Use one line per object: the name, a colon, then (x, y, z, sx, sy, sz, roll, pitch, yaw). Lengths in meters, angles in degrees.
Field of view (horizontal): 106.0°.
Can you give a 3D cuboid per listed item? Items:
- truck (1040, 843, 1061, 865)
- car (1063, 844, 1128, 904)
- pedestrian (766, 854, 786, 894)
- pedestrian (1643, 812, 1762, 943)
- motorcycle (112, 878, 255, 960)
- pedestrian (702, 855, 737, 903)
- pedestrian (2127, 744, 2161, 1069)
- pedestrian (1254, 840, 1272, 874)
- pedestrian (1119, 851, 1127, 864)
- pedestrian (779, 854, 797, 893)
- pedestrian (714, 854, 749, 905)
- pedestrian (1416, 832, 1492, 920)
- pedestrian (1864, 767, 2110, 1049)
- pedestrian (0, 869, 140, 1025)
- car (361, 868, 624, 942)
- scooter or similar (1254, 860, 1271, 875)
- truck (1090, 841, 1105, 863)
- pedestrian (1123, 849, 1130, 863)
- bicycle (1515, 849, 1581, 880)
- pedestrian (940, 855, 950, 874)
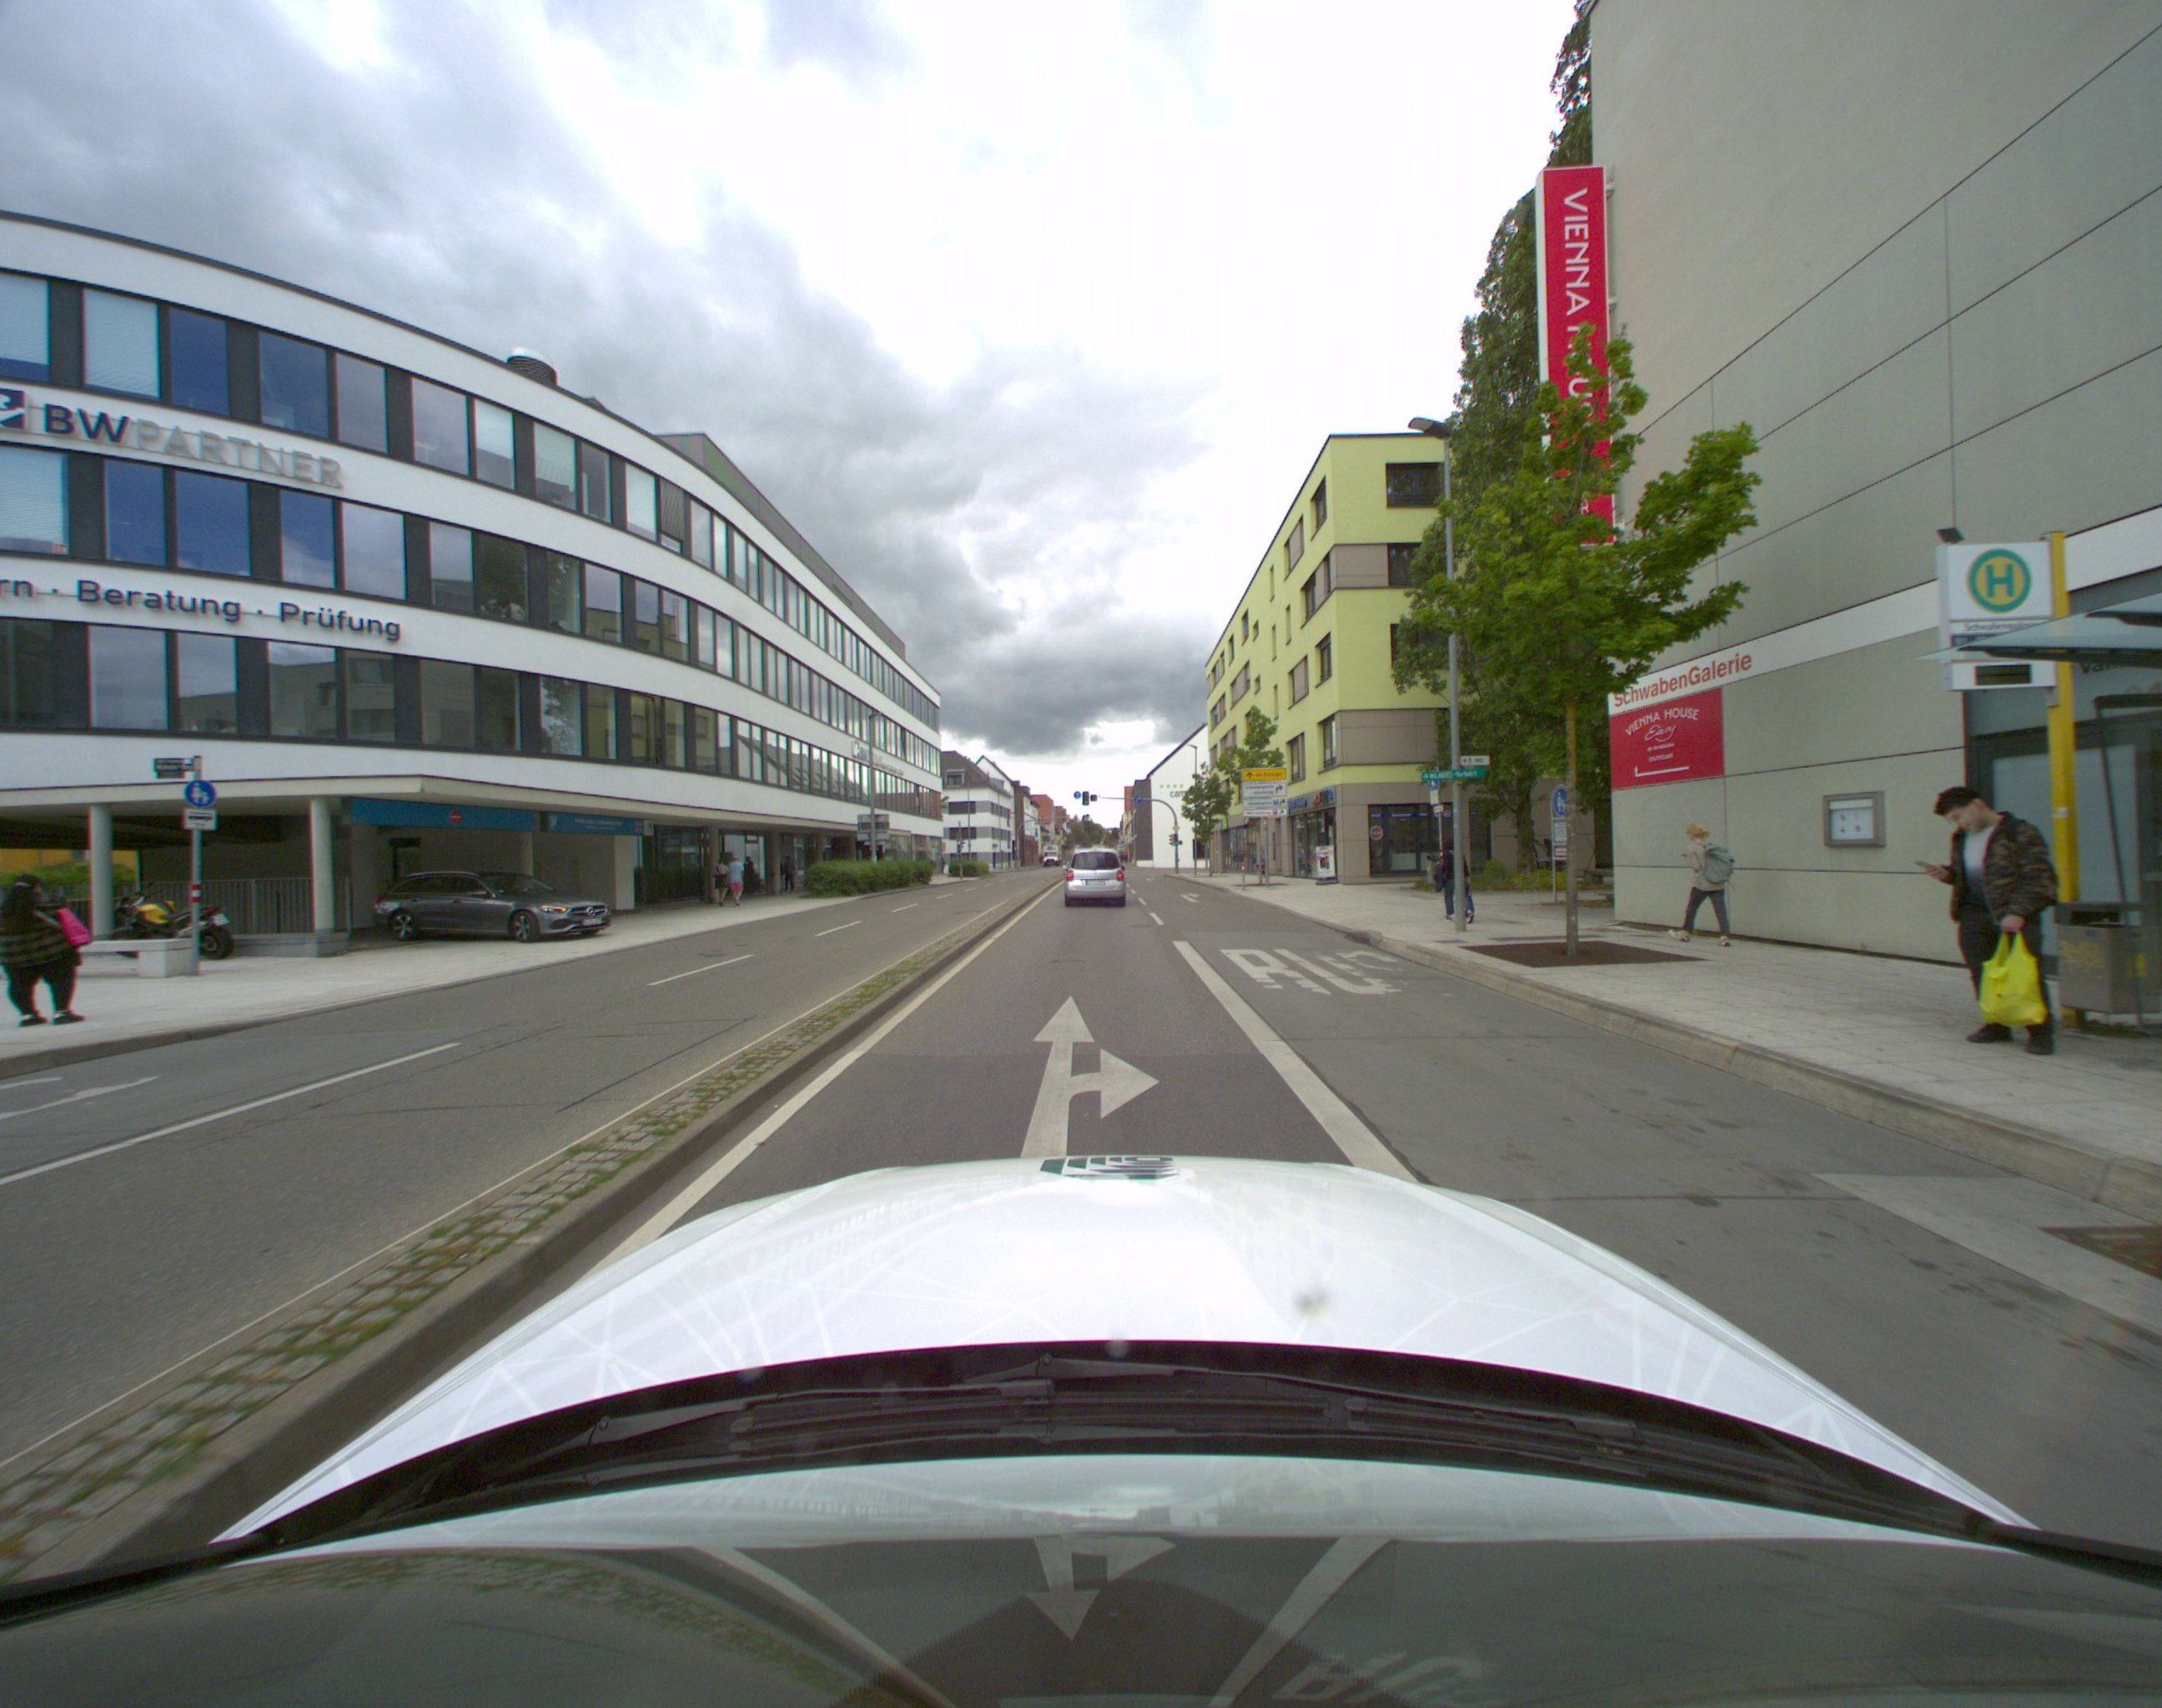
truck: (-4.214, -0.066, 115.300, 2.426, 2.953, 8.366, -1, 0, 1)
car: (0.431, 0.517, 23.322, 1.700, 1.579, 4.001, 0, 0, 1)
pedestrian: (-13.634, 0.890, 36.458, 0.500, 1.729, 0.619, -2, 0, 32)
pedestrian: (7.923, 0.291, 10.424, 0.865, 1.583, 0.804, -2, 0, 0)
motorcycle: (-15.400, 1.098, 13.995, 1.846, 1.333, 0.637, 0, 0, 4)
pedestrian: (-12.437, 0.844, 28.039, 0.727, 1.613, 0.932, 0, 0, 3)
pedestrian: (6.101, 0.280, 4.074, 0.576, 1.769, 0.858, -3, 0, 7)
pedestrian: (8.821, 0.154, 39.526, 0.693, 1.593, 0.603, -3, 0, 0)
pedestrian: (5.845, 0.455, 113.303, 0.886, 1.786, 0.785, -4, 0, 2)
pedestrian: (-12.949, 0.859, 36.005, 0.617, 1.710, 0.501, -2, 0, -29)
pedestrian: (-11.648, 0.836, 27.153, 0.727, 1.674, 0.932, 0, 0, 3)
pedestrian: (7.052, 0.403, 15.443, 0.944, 1.583, 1.016, -2, 0, 0)
pedestrian: (5.842, 0.334, 5.306, 0.717, 1.683, 0.734, -3, 0, 6)
pedestrian: (-10.979, 0.956, 8.740, 0.826, 1.567, 0.814, 0, 0, 6)
car: (-12.374, 1.026, 17.253, 4.429, 1.415, 1.908, 0, 0, 9)
scooter or similar: (8.630, 0.636, 38.810, 0.590, 0.673, 0.824, -3, 0, 0)
truck: (3.078, -0.423, 151.728, 2.586, 3.857, 6.852, -1, 0, 2)
pedestrian: (5.988, 0.324, 107.914, 0.804, 1.786, 0.861, -4, 0, 2)
bicycle: (15.963, 0.363, 27.866, 1.869, 1.000, 0.543, -1, 0, 5)
pedestrian: (-12.329, 0.962, 73.799, 0.881, 1.669, 0.812, -2, 2, -9)
